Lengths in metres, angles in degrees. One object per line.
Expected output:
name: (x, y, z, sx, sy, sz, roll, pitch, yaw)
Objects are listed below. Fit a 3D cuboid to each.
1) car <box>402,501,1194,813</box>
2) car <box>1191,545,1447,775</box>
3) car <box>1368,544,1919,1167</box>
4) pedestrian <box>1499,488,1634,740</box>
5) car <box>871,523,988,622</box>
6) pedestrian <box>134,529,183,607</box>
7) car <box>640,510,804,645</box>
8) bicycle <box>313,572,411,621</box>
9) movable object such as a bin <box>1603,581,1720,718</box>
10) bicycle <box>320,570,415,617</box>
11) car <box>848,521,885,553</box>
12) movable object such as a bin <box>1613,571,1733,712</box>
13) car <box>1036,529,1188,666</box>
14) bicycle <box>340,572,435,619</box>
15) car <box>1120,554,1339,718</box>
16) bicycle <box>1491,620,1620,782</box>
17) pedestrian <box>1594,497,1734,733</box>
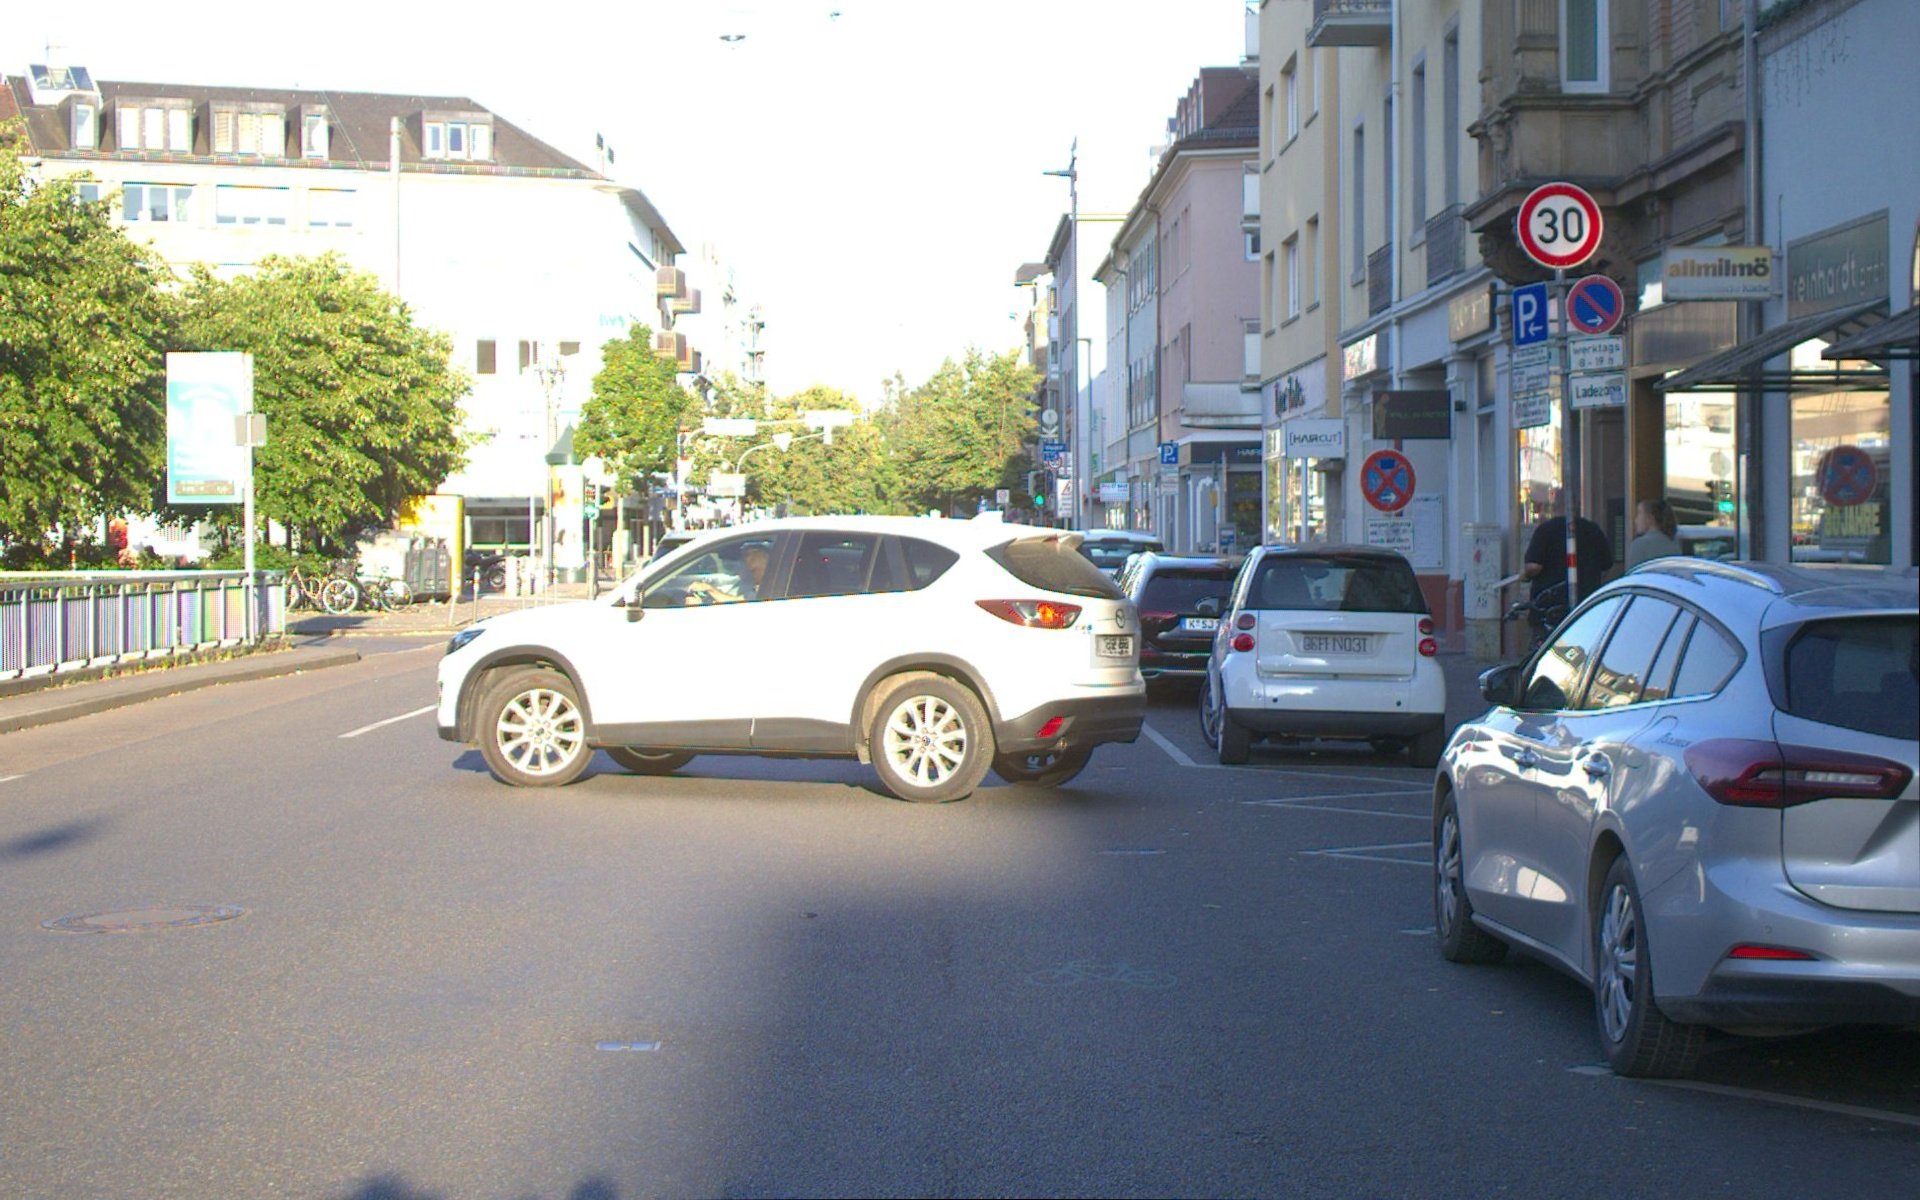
car: (-0.997, 0.290, 21.163, 4.457, 1.755, 1.997, 0, 1, 25)
car: (2.560, 0.395, 25.108, 1.532, 1.531, 3.283, 1, 1, 1)
car: (2.600, 0.631, 10.984, 1.759, 1.531, 4.822, 2, 1, -3)
pedestrian: (4.516, 0.092, 25.634, 0.772, 1.821, 1.011, -2, 1, -1)
car: (-0.545, -0.493, 59.201, 1.896, 1.575, 4.000, 2, 1, -1)
pedestrian: (-16.565, -0.664, 71.061, 0.791, 1.589, 0.567, 1, 1, 19)
car: (-3.030, -0.318, 44.494, 1.896, 1.644, 4.104, 1, 1, -1)
bicycle: (-11.775, -0.067, 67.683, 1.825, 0.850, 0.484, 3, 1, -4)
movable object such as a bin: (5.671, 0.393, 27.816, 0.774, 1.066, 0.618, -2, 1, -1)
bicycle: (-12.125, -0.134, 70.396, 1.825, 0.850, 0.484, 3, 1, -4)
car: (-4.554, -3.066, 167.114, 1.779, 1.542, 4.000, 1, 1, -1)
movable object such as a bin: (5.610, 0.318, 27.078, 0.774, 1.066, 0.618, -2, 1, -1)
car: (1.938, -0.052, 44.974, 1.730, 1.645, 4.284, 2, 1, 0)
bicycle: (-11.573, -0.091, 69.487, 1.825, 0.850, 0.484, 3, 1, -4)
car: (2.573, 0.306, 33.701, 1.730, 1.443, 4.524, 2, 1, 0)
bicycle: (4.078, 0.670, 23.637, 0.504, 1.012, 1.947, 0, 1, -1)
pedestrian: (5.253, 0.098, 25.700, 0.772, 1.705, 1.042, -2, 1, -1)
